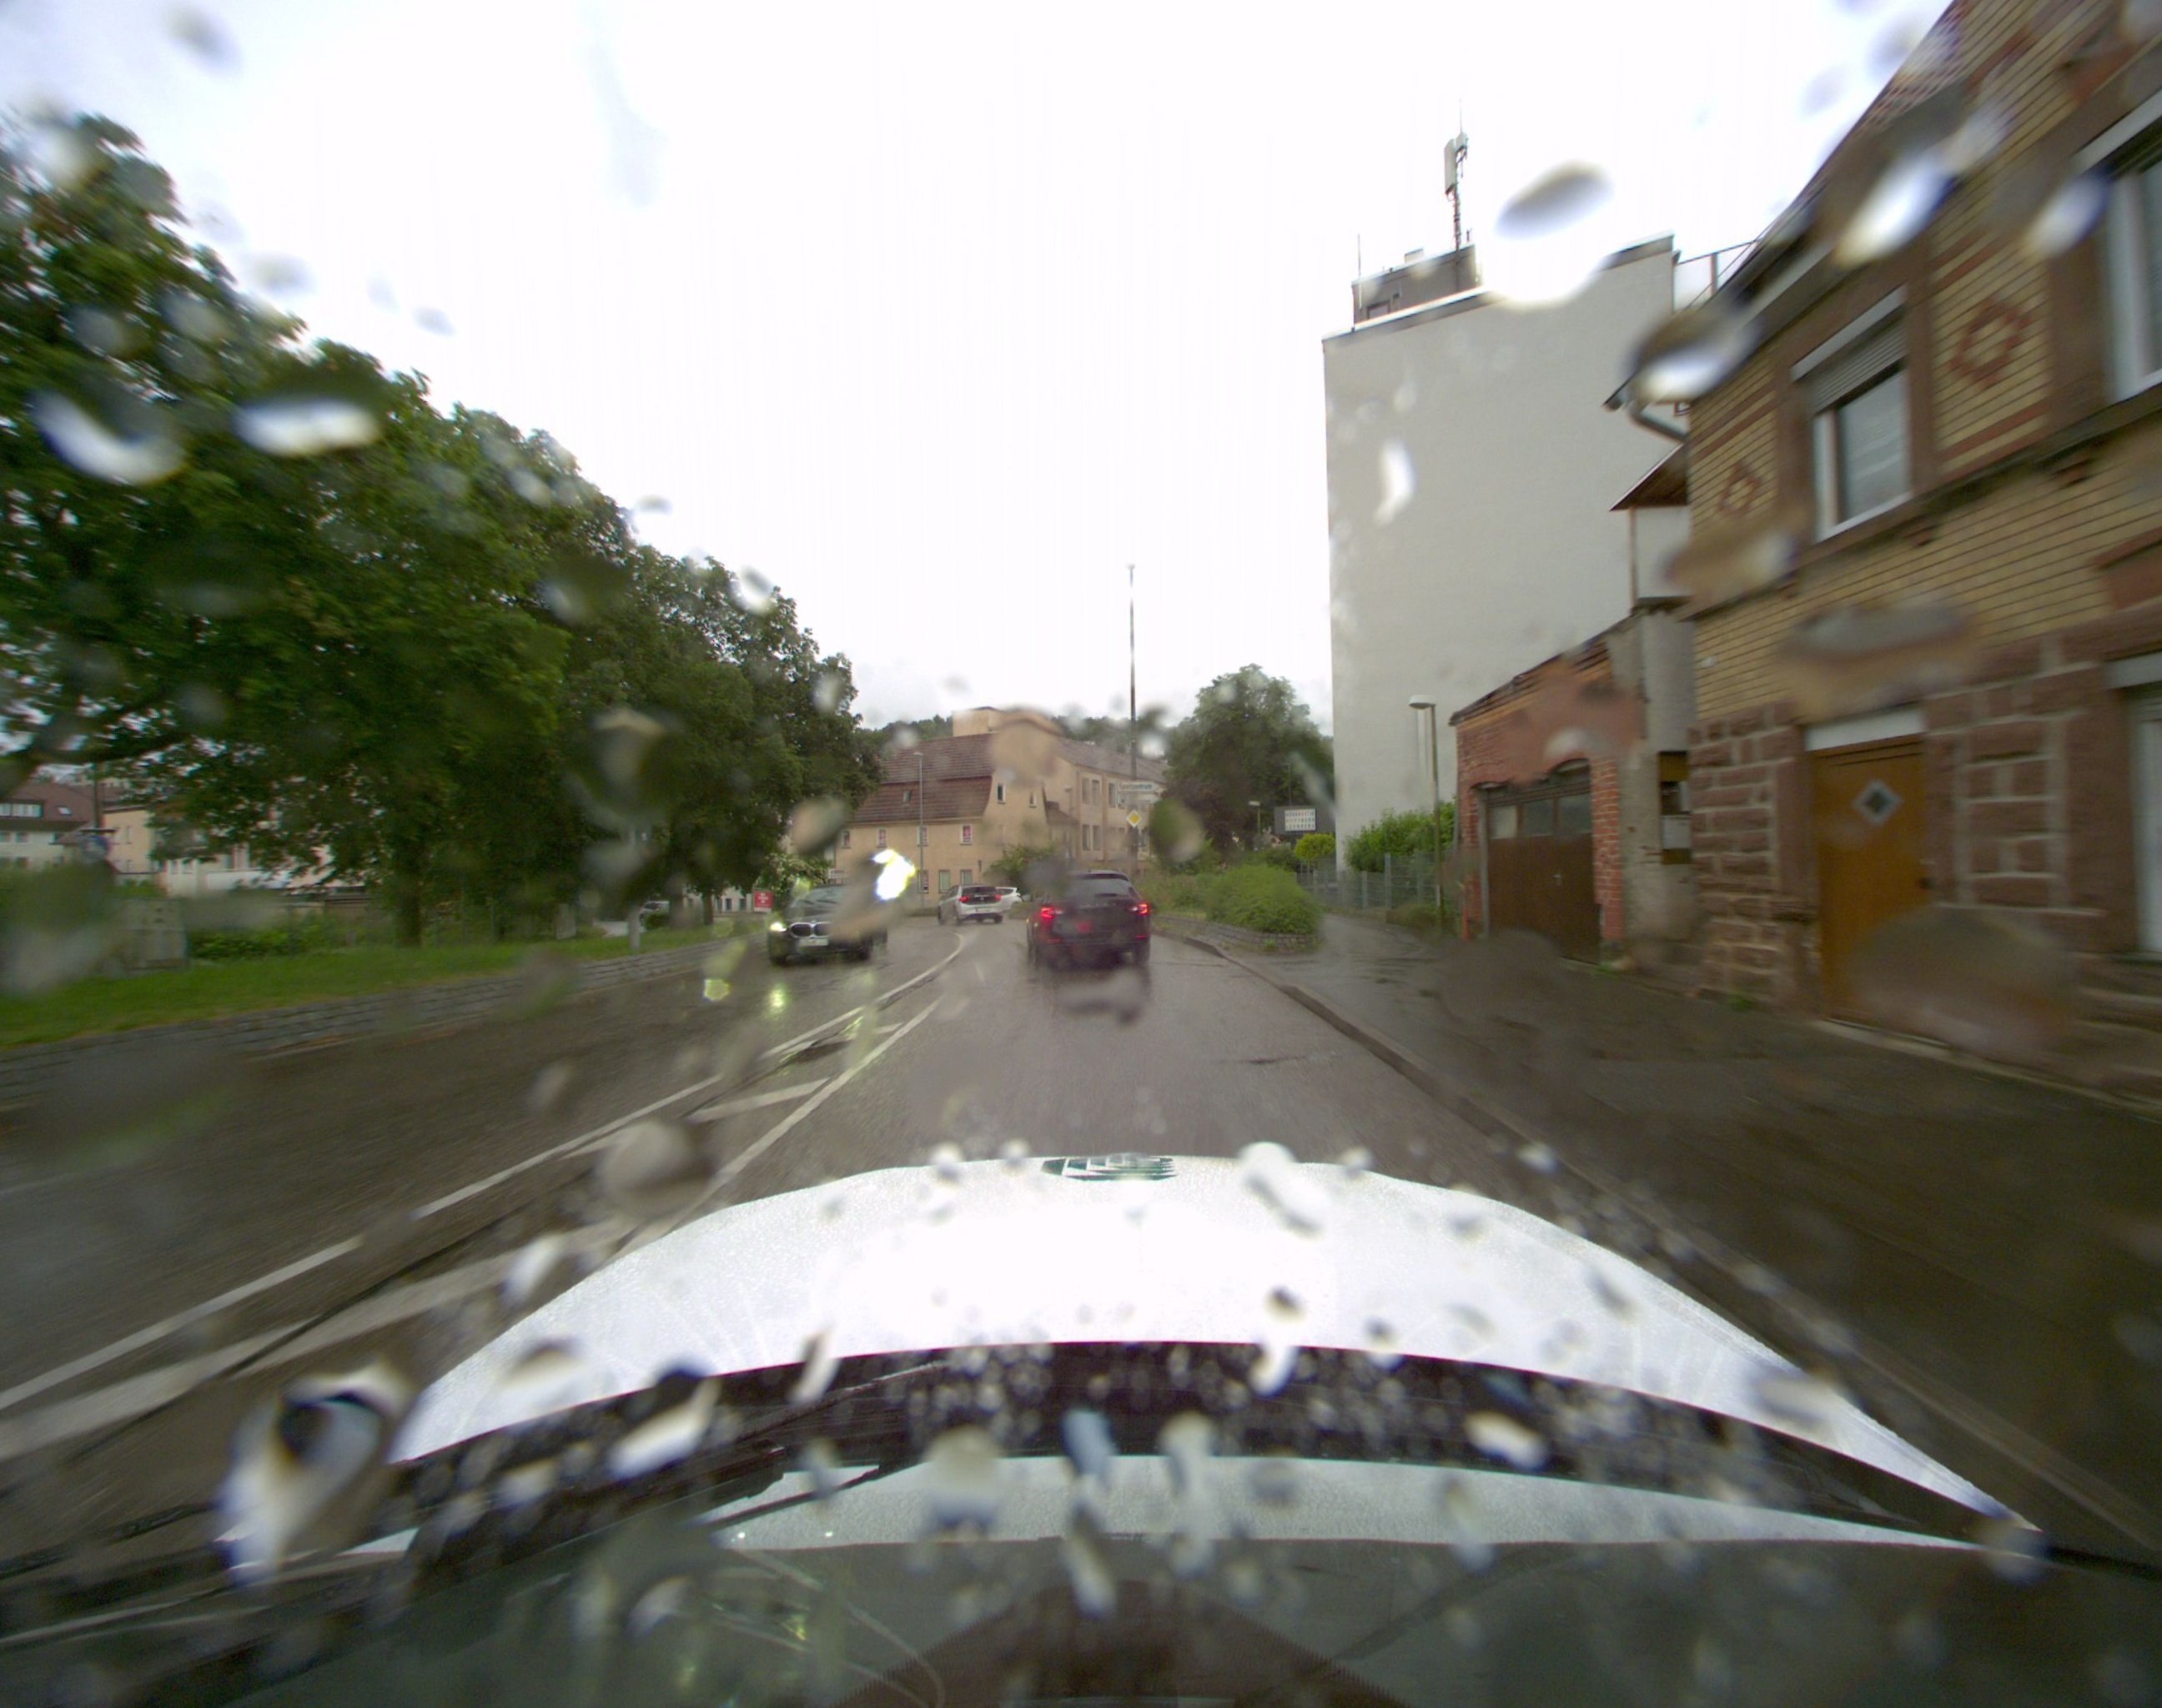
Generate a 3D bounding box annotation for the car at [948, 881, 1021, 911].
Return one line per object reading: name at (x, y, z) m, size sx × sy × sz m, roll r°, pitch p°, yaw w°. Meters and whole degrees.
car at (-5.564, 2.410, 47.052) m, size 3.770 × 1.453 × 1.698 m, roll -3°, pitch -2°, yaw -25°

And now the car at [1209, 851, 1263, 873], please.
car at (13.191, 0.692, 69.450) m, size 4.374 × 1.573 × 1.725 m, roll -3°, pitch -1°, yaw 12°

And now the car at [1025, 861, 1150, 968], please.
car at (-0.030, 0.897, 13.913) m, size 1.778 × 1.483 × 4.240 m, roll -2°, pitch -1°, yaw -4°

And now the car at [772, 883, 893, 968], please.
car at (-4.827, 1.311, 16.314) m, size 1.735 × 1.411 × 4.041 m, roll -1°, pitch -2°, yaw -9°

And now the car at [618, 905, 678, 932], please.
car at (-28.022, 4.141, 52.682) m, size 3.640 × 1.590 × 1.911 m, roll -3°, pitch -1°, yaw 34°

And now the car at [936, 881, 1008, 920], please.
car at (-4.271, 1.743, 31.347) m, size 1.825 × 1.360 × 3.960 m, roll -1°, pitch -1°, yaw -22°

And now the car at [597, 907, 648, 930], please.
car at (-34.878, 4.869, 61.970) m, size 3.640 × 1.590 × 1.911 m, roll -3°, pitch -1°, yaw 34°

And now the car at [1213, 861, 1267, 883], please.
car at (12.908, 1.438, 66.046) m, size 3.855 × 1.573 × 1.729 m, roll -4°, pitch -1°, yaw 26°
